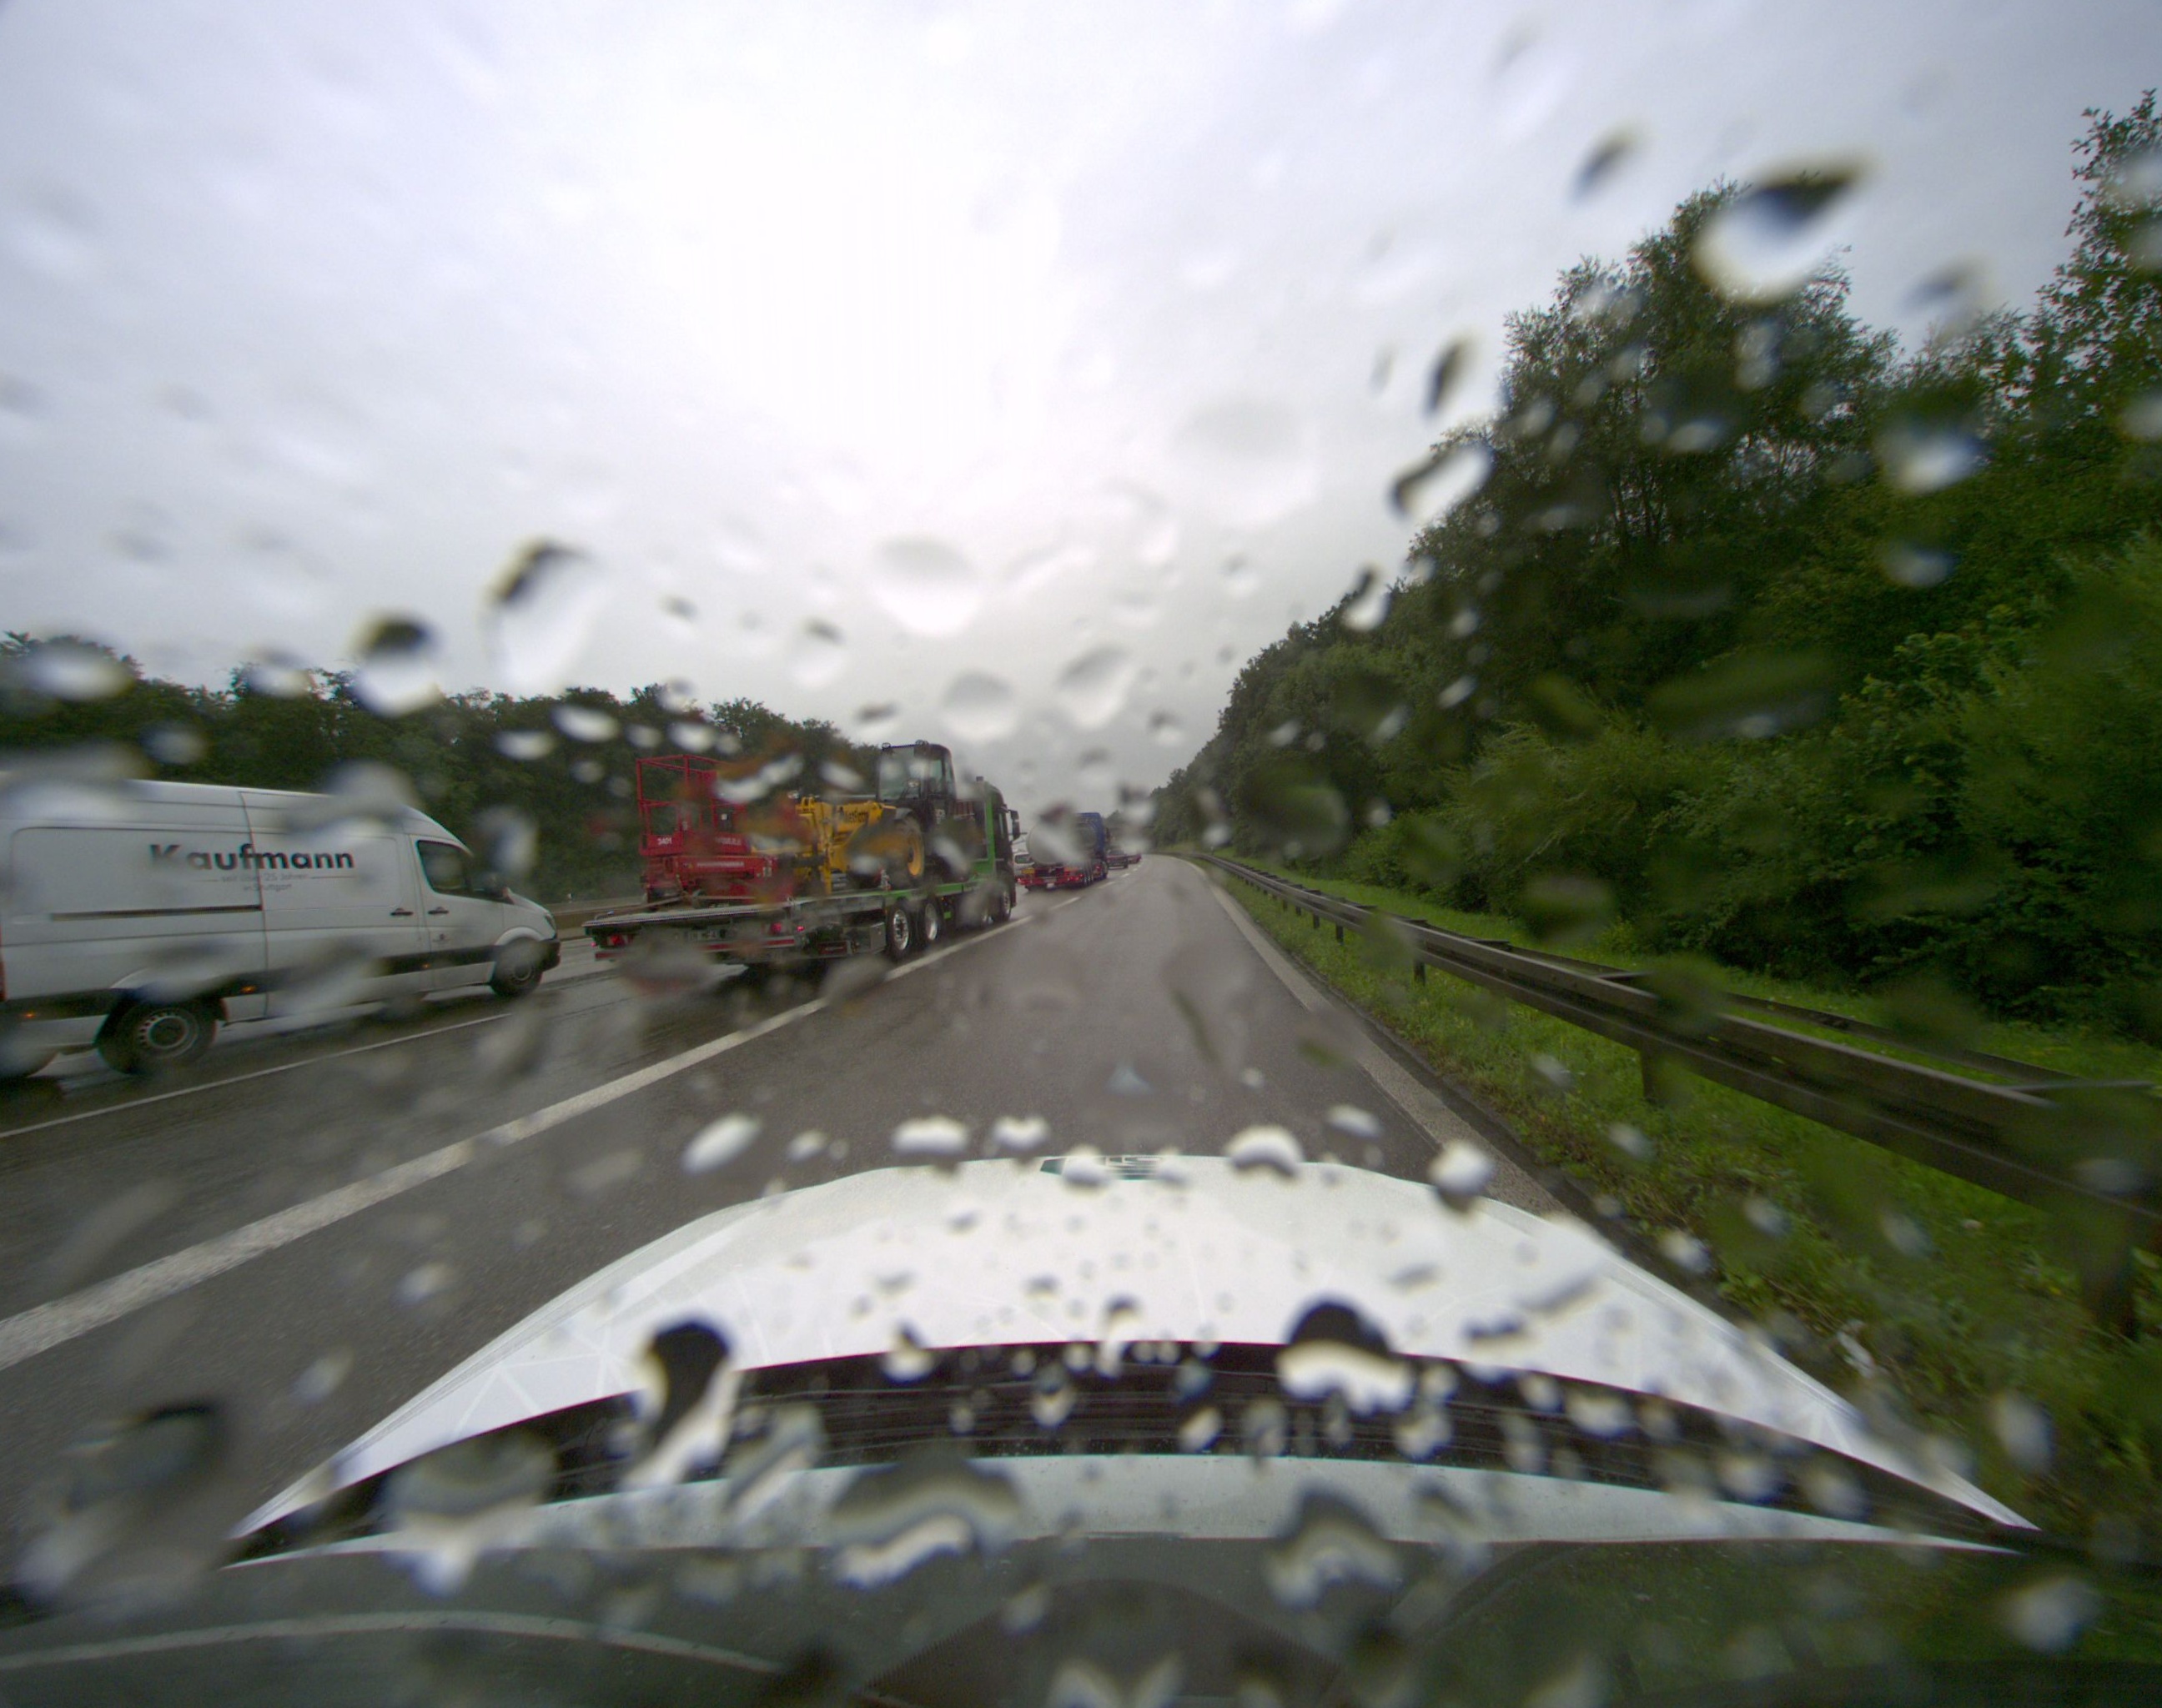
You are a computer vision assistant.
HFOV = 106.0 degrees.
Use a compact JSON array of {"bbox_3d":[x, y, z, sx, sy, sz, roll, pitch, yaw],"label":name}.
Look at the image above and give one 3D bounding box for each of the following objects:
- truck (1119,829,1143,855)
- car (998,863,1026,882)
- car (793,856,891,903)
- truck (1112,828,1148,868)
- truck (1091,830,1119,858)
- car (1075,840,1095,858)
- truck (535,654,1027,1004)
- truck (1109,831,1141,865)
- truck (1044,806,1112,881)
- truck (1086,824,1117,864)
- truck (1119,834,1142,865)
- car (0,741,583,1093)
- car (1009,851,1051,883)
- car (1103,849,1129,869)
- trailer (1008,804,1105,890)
[{"bbox_3d":[8.355,-1.933,134.937,3.738,3.971,11.069,0,-1,4],"label":"truck"},{"bbox_3d":[-7.069,1.842,83.881,1.984,1.772,4.141,-3,-1,6],"label":"car"},{"bbox_3d":[-9.639,0.966,33.320,1.983,1.594,4.818,-4,0,8],"label":"car"},{"bbox_3d":[5.695,-0.681,92.992,3.584,4.105,11.573,-4,0,4],"label":"truck"},{"bbox_3d":[4.094,-1.625,135.844,3.558,4.095,10.896,-3,-2,6],"label":"truck"},{"bbox_3d":[0.461,-0.550,90.616,1.788,1.838,4.006,0,-1,6],"label":"car"},{"bbox_3d":[-3.702,-0.255,14.704,2.815,3.588,11.824,-4,0,8],"label":"truck"},{"bbox_3d":[6.028,-0.730,109.086,3.488,4.268,10.623,0,-1,7],"label":"truck"},{"bbox_3d":[-0.075,-0.565,44.469,2.862,3.693,5.066,-4,0,7],"label":"truck"},{"bbox_3d":[3.103,-1.338,120.948,3.735,5.499,10.189,0,-1,6],"label":"truck"},{"bbox_3d":[9.558,-0.731,156.410,4.317,5.764,9.739,0,-1,4],"label":"truck"},{"bbox_3d":[-8.740,0.533,8.908,2.202,2.629,5.859,-4,-1,9],"label":"car"},{"bbox_3d":[-3.083,0.773,50.180,1.810,1.767,4.008,-3,0,7],"label":"car"},{"bbox_3d":[3.017,0.471,68.870,1.984,1.636,4.006,0,-1,5],"label":"car"},{"bbox_3d":[-0.830,-0.314,37.844,2.858,3.288,10.097,-4,0,7],"label":"trailer"}]
